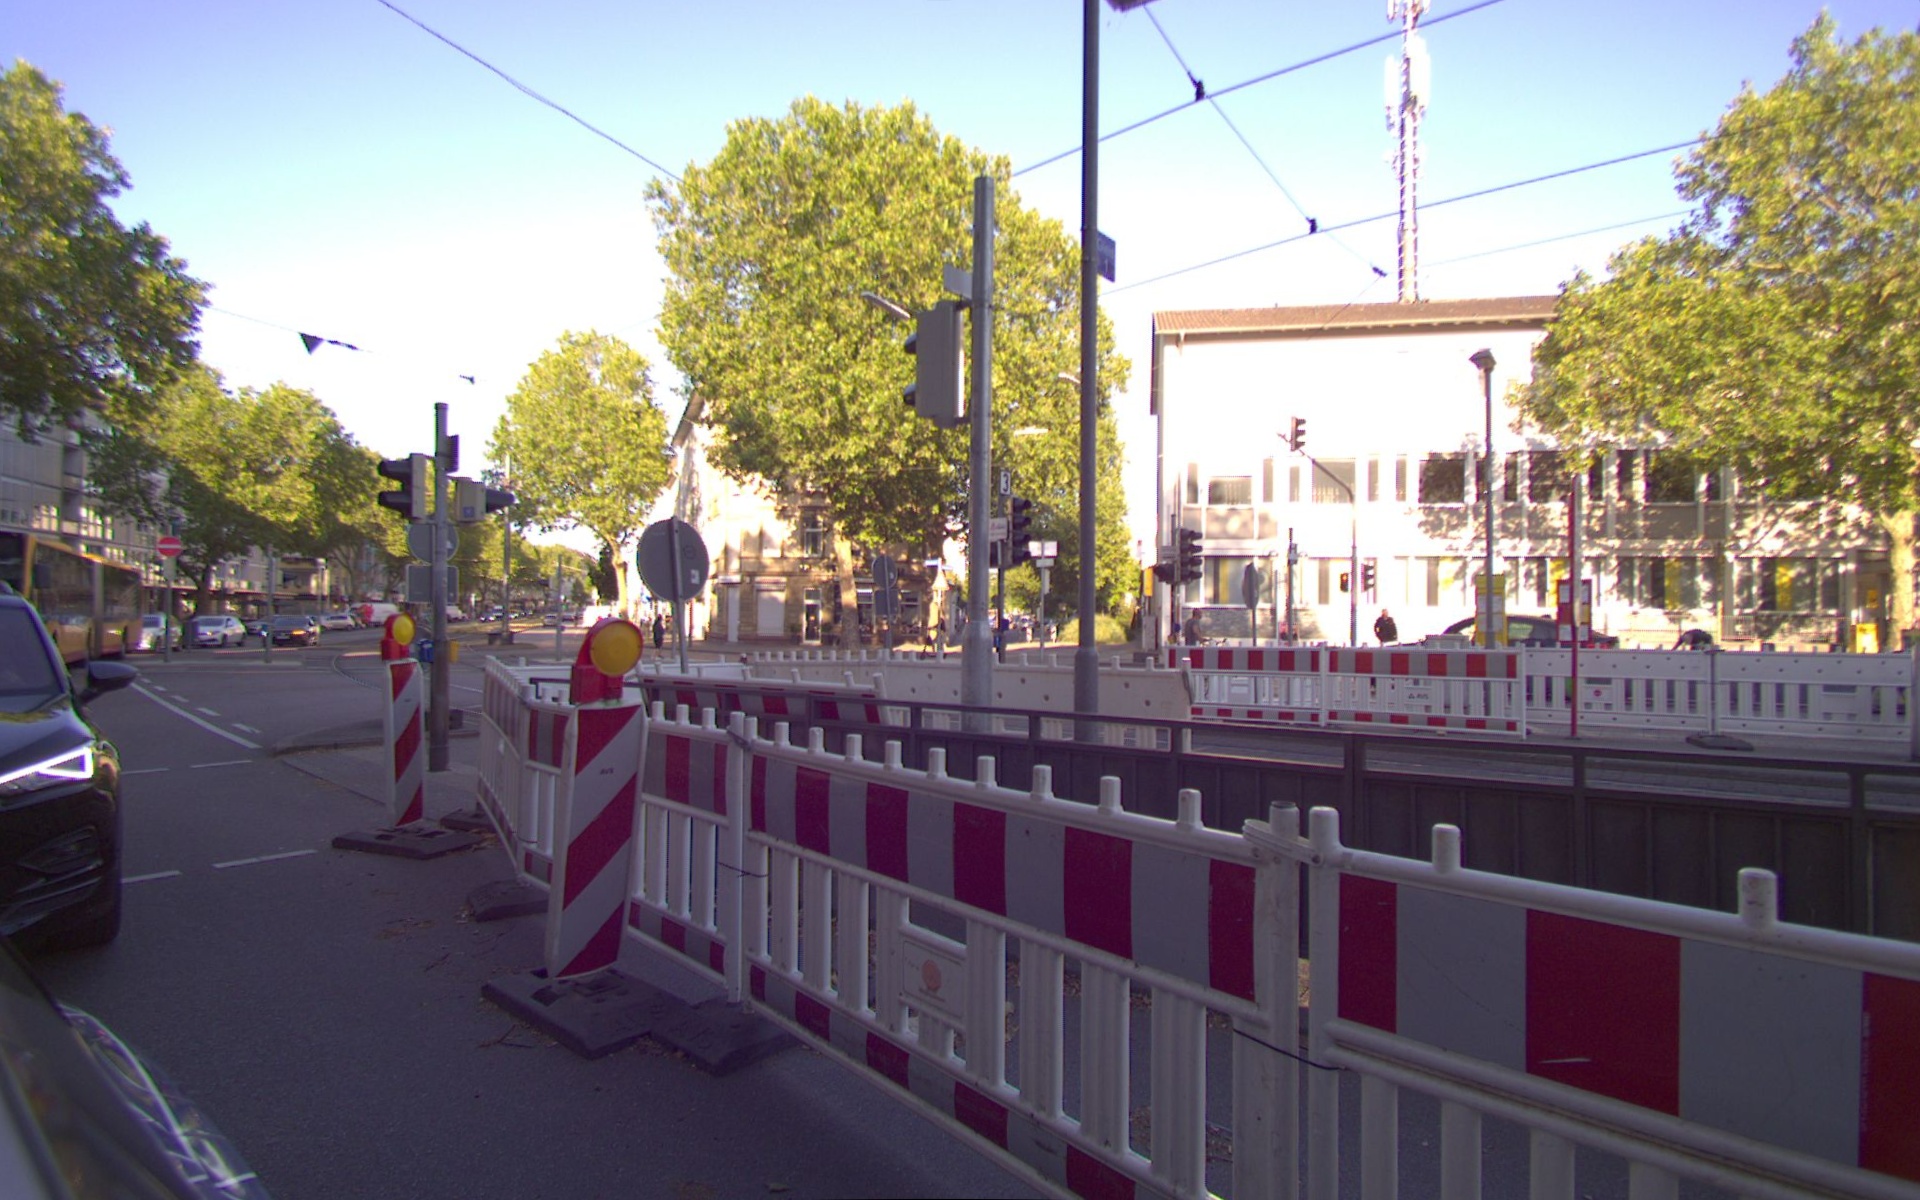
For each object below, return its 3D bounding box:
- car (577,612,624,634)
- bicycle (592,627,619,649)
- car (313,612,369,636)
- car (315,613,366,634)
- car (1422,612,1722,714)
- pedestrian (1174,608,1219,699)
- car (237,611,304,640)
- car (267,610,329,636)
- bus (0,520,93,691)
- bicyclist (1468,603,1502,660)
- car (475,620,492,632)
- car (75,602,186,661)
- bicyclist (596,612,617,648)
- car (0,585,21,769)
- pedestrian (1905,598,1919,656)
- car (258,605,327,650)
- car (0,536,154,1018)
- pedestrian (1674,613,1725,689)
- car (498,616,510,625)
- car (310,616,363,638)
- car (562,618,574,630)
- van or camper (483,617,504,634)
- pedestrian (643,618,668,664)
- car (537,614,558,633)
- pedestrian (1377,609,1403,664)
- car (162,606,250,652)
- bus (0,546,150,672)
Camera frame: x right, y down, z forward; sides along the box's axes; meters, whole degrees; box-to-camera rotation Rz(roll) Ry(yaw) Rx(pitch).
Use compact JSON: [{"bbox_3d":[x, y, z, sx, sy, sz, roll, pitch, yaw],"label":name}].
[{"bbox_3d":[-34.291,2.194,96.696,1.990,2.029,3.963,0,-2,27],"label":"car"},{"bbox_3d":[-20.225,2.168,57.724,0.838,1.202,2.472,1,-2,-35],"label":"bicycle"},{"bbox_3d":[-55.029,2.139,90.028,3.938,2.029,2.002,1,-2,-42],"label":"car"},{"bbox_3d":[-60.080,2.267,98.195,3.938,2.029,2.002,1,-2,-42],"label":"car"},{"bbox_3d":[11.235,1.072,18.732,4.552,1.674,1.974,-1,-2,38],"label":"car"},{"bbox_3d":[4.663,1.037,19.968,0.545,1.760,0.693,1,-2,-24],"label":"pedestrian"},{"bbox_3d":[-50.654,1.876,74.447,3.932,2.029,2.006,1,-2,-32],"label":"car"},{"bbox_3d":[-53.807,1.860,82.334,3.938,2.029,2.002,1,-2,-42],"label":"car"},{"bbox_3d":[-20.766,0.152,21.646,2.678,3.130,8.641,1,-2,-36],"label":"bus"},{"bbox_3d":[16.279,0.964,31.375,0.757,1.741,0.671,0,-2,13],"label":"bicyclist"},{"bbox_3d":[-69.375,3.737,147.264,1.809,1.715,4.143,1,-2,-19],"label":"car"},{"bbox_3d":[-30.585,1.146,37.489,1.965,2.029,4.111,1,-1,-21],"label":"car"},{"bbox_3d":[-20.157,1.703,57.680,0.842,2.029,0.986,1,-2,-35],"label":"bicyclist"},{"bbox_3d":[-10.738,0.696,9.804,4.073,1.656,1.973,-1,-2,41],"label":"car"},{"bbox_3d":[24.465,0.683,25.632,0.581,1.466,0.582,0,-2,22],"label":"pedestrian"},{"bbox_3d":[-31.433,1.296,47.770,1.965,2.029,4.013,1,-1,-22],"label":"car"},{"bbox_3d":[-5.243,0.642,4.562,3.998,1.719,1.818,-1,-2,41],"label":"car"},{"bbox_3d":[18.502,1.256,25.343,0.923,1.847,0.693,-1,-2,28],"label":"pedestrian"},{"bbox_3d":[-83.706,3.770,185.810,1.675,1.481,3.776,1,-2,-19],"label":"car"},{"bbox_3d":[-57.978,2.475,94.155,3.938,2.029,2.002,1,-2,-42],"label":"car"},{"bbox_3d":[-63.841,3.953,164.816,1.661,1.866,4.013,1,-1,-20],"label":"car"},{"bbox_3d":[-77.100,4.256,167.315,2.385,2.739,6.151,1,-1,-18],"label":"van or camper"},{"bbox_3d":[-10.414,1.399,34.604,0.594,1.545,0.746,1,-2,-38],"label":"pedestrian"},{"bbox_3d":[-45.224,2.549,110.934,1.965,2.029,4.013,1,-1,-20],"label":"car"},{"bbox_3d":[12.426,1.049,29.246,0.649,1.564,0.563,-1,-2,28],"label":"pedestrian"},{"bbox_3d":[-34.655,1.339,46.666,1.966,2.029,4.012,1,-1,-17],"label":"car"},{"bbox_3d":[-25.678,0.295,28.978,2.676,3.130,8.622,1,-2,-31],"label":"bus"}]
